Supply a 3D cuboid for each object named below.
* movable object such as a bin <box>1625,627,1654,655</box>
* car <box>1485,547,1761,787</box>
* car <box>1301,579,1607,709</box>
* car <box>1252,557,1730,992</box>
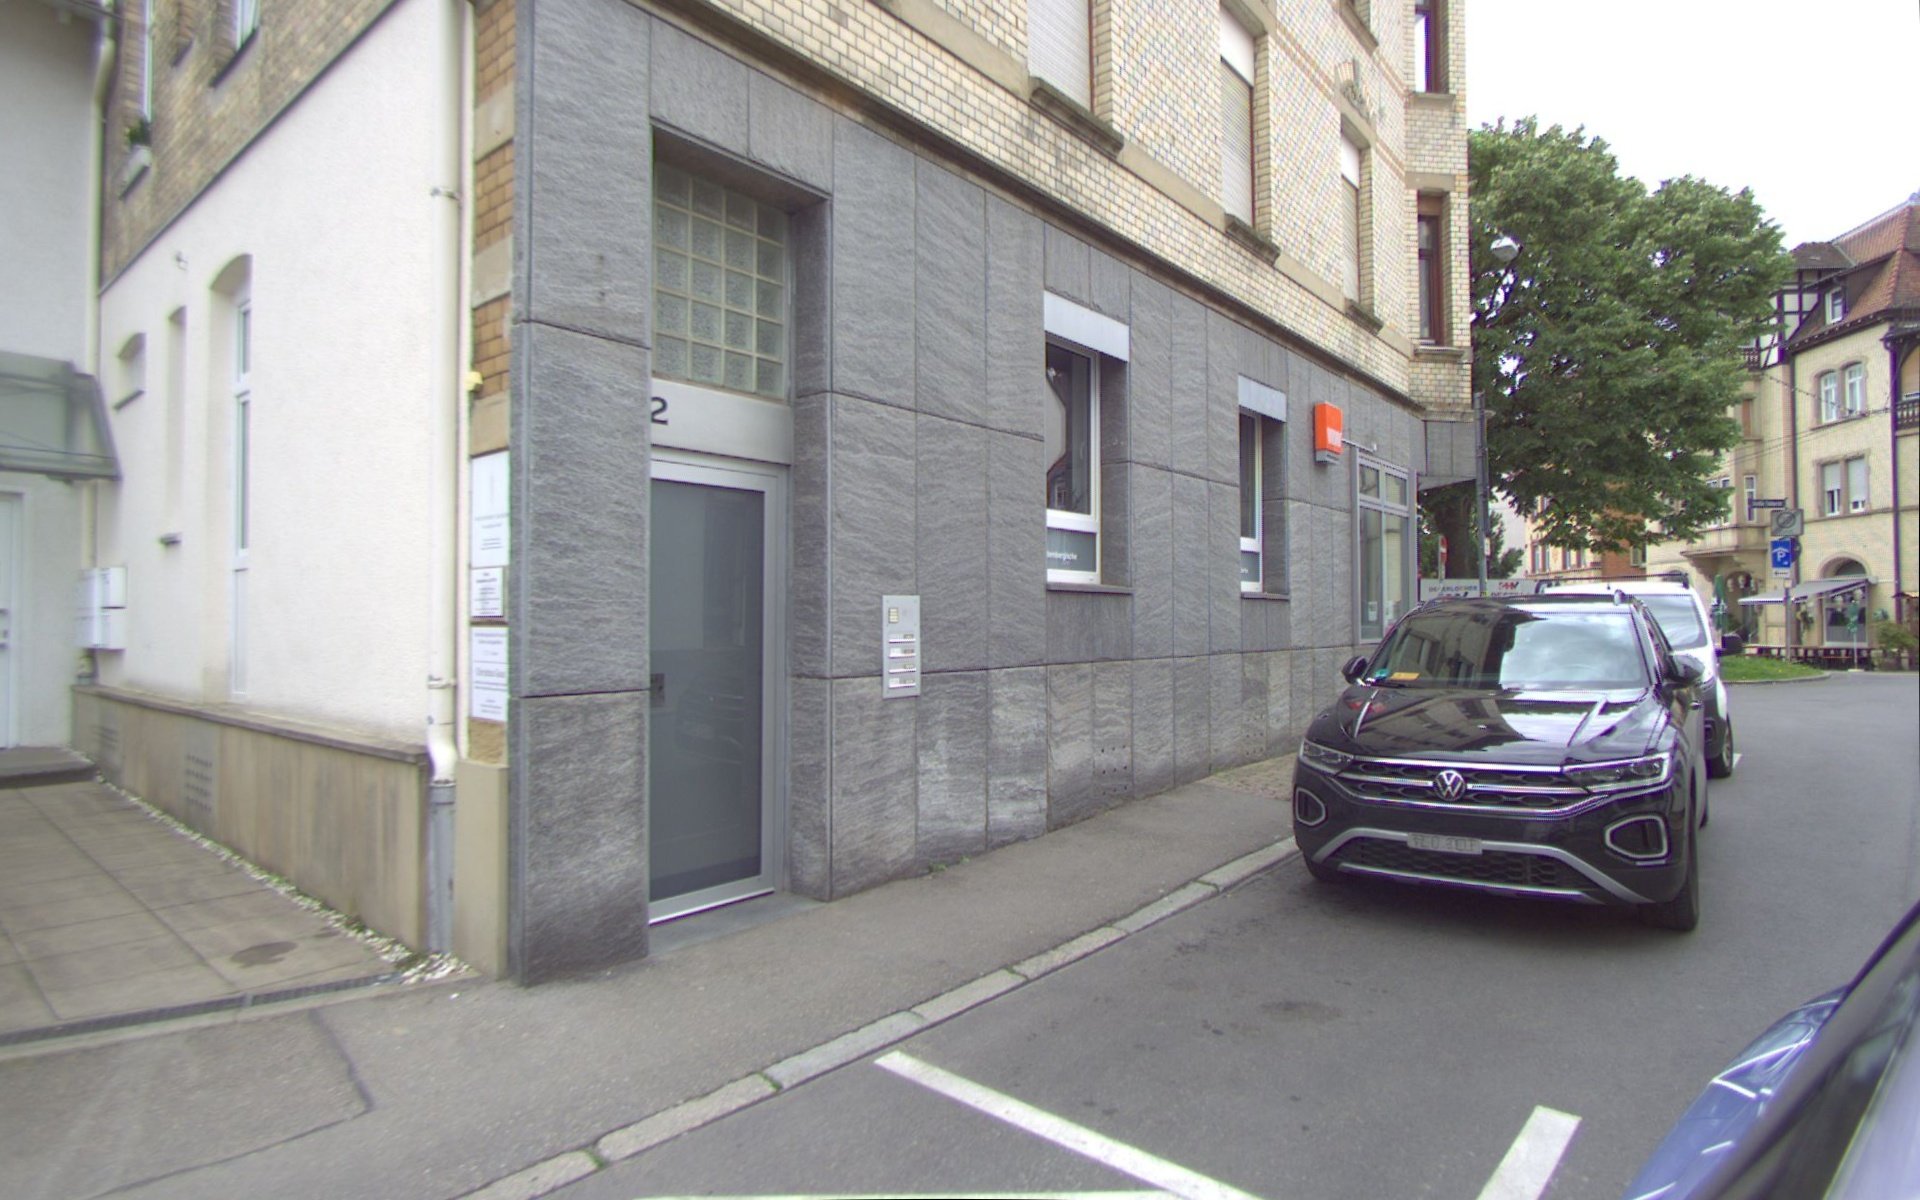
[{"bbox_3d":[35.224,2.114,52.474,0.931,1.395,0.820,-3,0,13],"label":"movable object such as a bin"},{"bbox_3d":[6.501,0.547,9.921,1.819,1.815,4.164,-2,-2,35],"label":"car"},{"bbox_3d":[7.551,0.639,15.922,1.824,1.726,4.028,-1,-1,-25],"label":"car"},{"bbox_3d":[3.462,0.672,6.135,1.783,1.621,4.482,-2,-1,36],"label":"car"}]
